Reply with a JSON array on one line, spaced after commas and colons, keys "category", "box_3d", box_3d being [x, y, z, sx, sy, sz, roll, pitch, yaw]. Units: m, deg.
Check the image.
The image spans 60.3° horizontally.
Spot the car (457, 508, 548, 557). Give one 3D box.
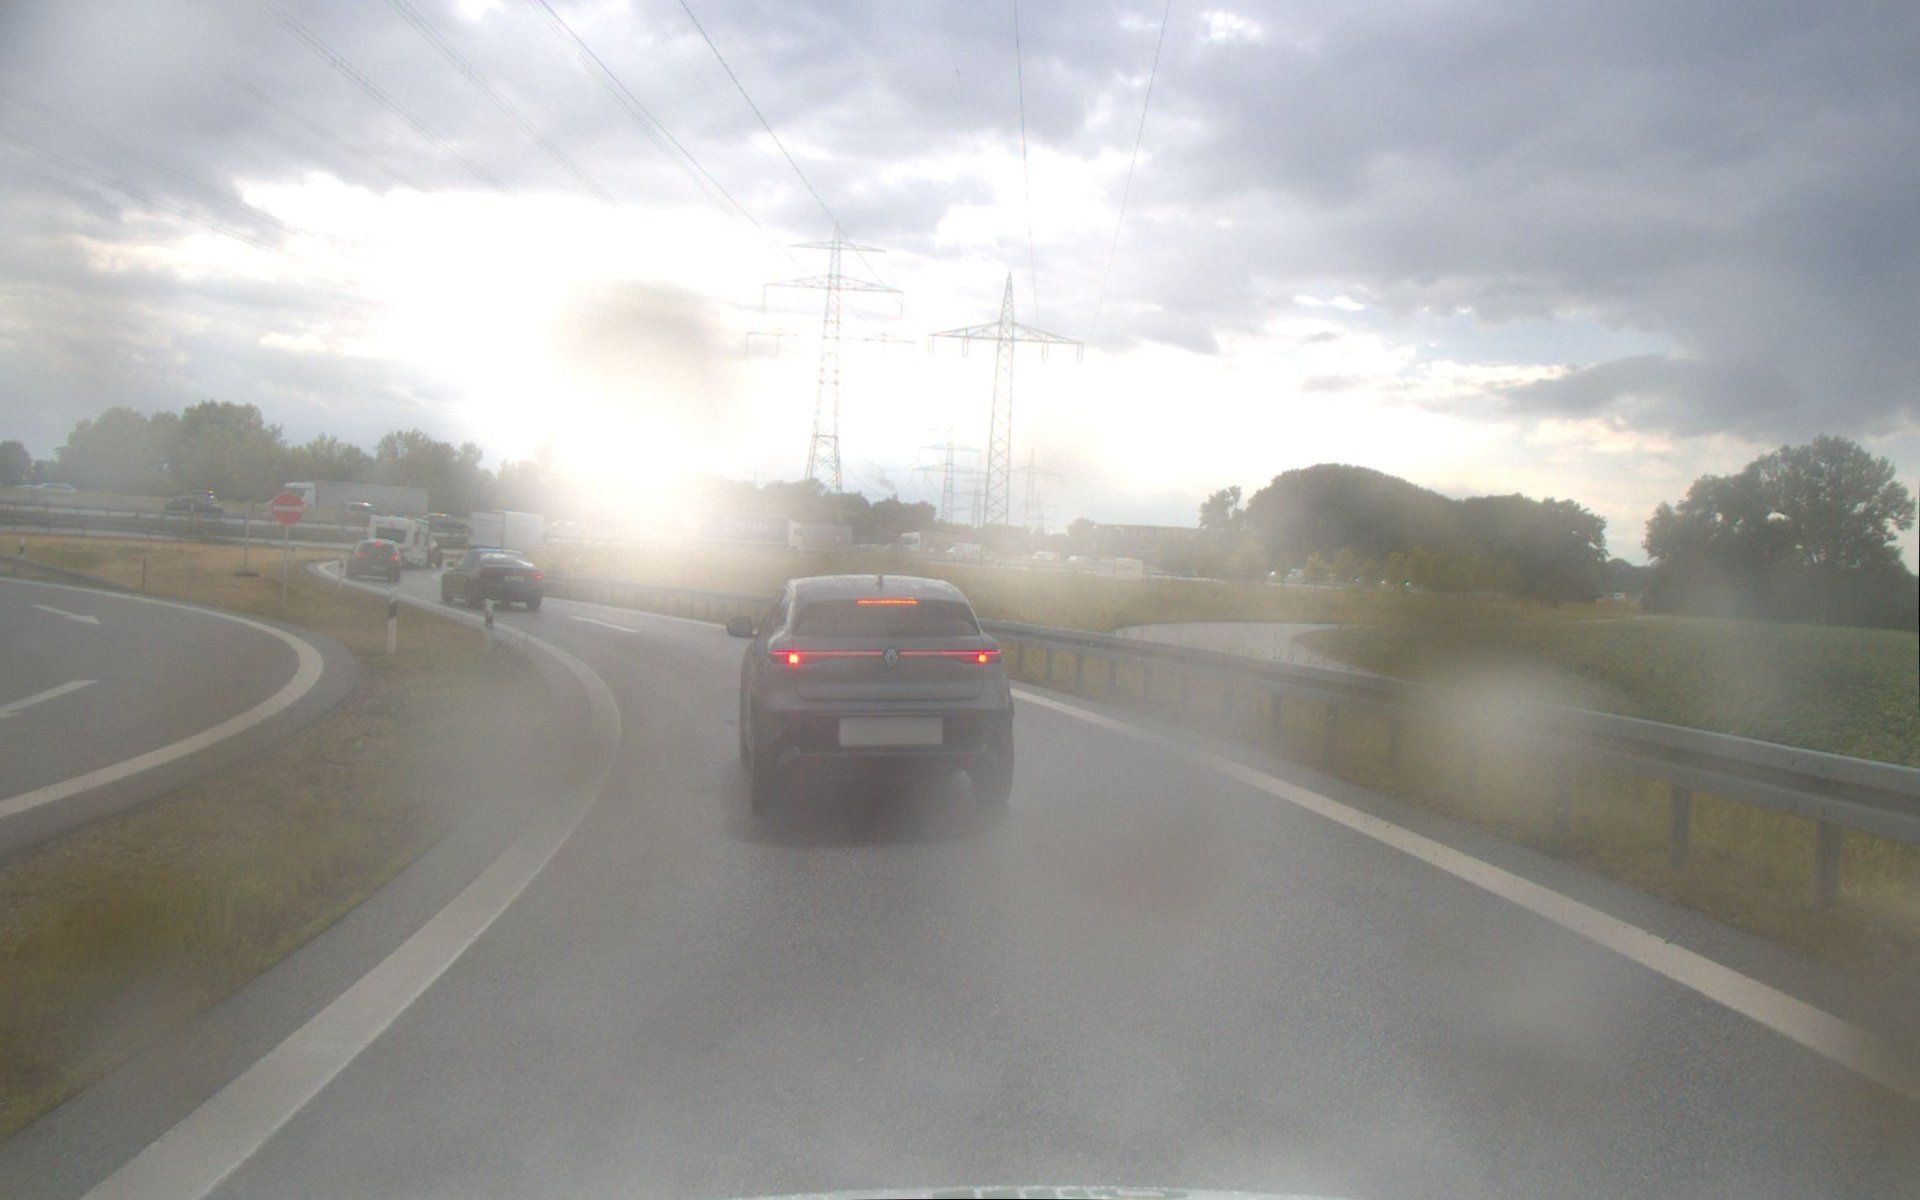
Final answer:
[{"category": "car", "box_3d": [-30.747, -4.574, 111.421, 3.069, 3.001, 7.217, 3, 3, 9]}]

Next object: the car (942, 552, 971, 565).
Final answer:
[{"category": "car", "box_3d": [-0.464, -5.552, 222.520, 1.958, 1.630, 3.991, 5, 4, 31]}]

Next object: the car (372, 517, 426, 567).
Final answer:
[{"category": "car", "box_3d": [-29.645, -3.118, 87.533, 2.313, 2.346, 5.109, 2, 3, -16]}]

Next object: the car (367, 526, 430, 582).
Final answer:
[{"category": "car", "box_3d": [-26.663, -2.220, 78.466, 2.321, 2.346, 5.092, 2, 4, -24]}]

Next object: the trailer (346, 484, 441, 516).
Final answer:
[{"category": "trailer", "box_3d": [-61.339, -10.816, 179.376, 2.273, 3.078, 10.450, 5, 4, 34]}]

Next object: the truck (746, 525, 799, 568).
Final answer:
[{"category": "truck", "box_3d": [-20.544, -5.854, 181.433, 3.016, 4.556, 5.057, 5, 4, 34]}]

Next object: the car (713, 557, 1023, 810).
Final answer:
[{"category": "car", "box_3d": [-0.770, 0.484, 12.565, 1.955, 1.593, 4.144, 0, 1, -6]}]

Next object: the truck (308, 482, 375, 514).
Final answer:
[{"category": "truck", "box_3d": [-65.000, -10.695, 173.879, 2.274, 3.078, 6.447, 5, 4, 34]}]

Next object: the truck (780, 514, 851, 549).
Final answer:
[{"category": "truck", "box_3d": [-20.042, -9.490, 230.190, 1.961, 4.194, 12.449, 4, 1, 36]}]

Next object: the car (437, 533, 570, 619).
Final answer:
[{"category": "car", "box_3d": [-12.443, -0.705, 44.804, 2.099, 2.053, 5.479, 2, 1, -30]}]

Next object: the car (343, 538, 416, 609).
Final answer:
[{"category": "car", "box_3d": [-22.046, -1.062, 62.980, 2.314, 2.346, 5.107, 2, 3, -17]}]

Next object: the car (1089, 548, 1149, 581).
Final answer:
[{"category": "car", "box_3d": [19.822, -4.385, 205.793, 3.326, 3.673, 9.015, 4, 1, 34]}]

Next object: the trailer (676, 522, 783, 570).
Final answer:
[{"category": "trailer", "box_3d": [-24.364, -5.680, 175.929, 2.997, 4.714, 13.258, 5, 4, 34]}]
